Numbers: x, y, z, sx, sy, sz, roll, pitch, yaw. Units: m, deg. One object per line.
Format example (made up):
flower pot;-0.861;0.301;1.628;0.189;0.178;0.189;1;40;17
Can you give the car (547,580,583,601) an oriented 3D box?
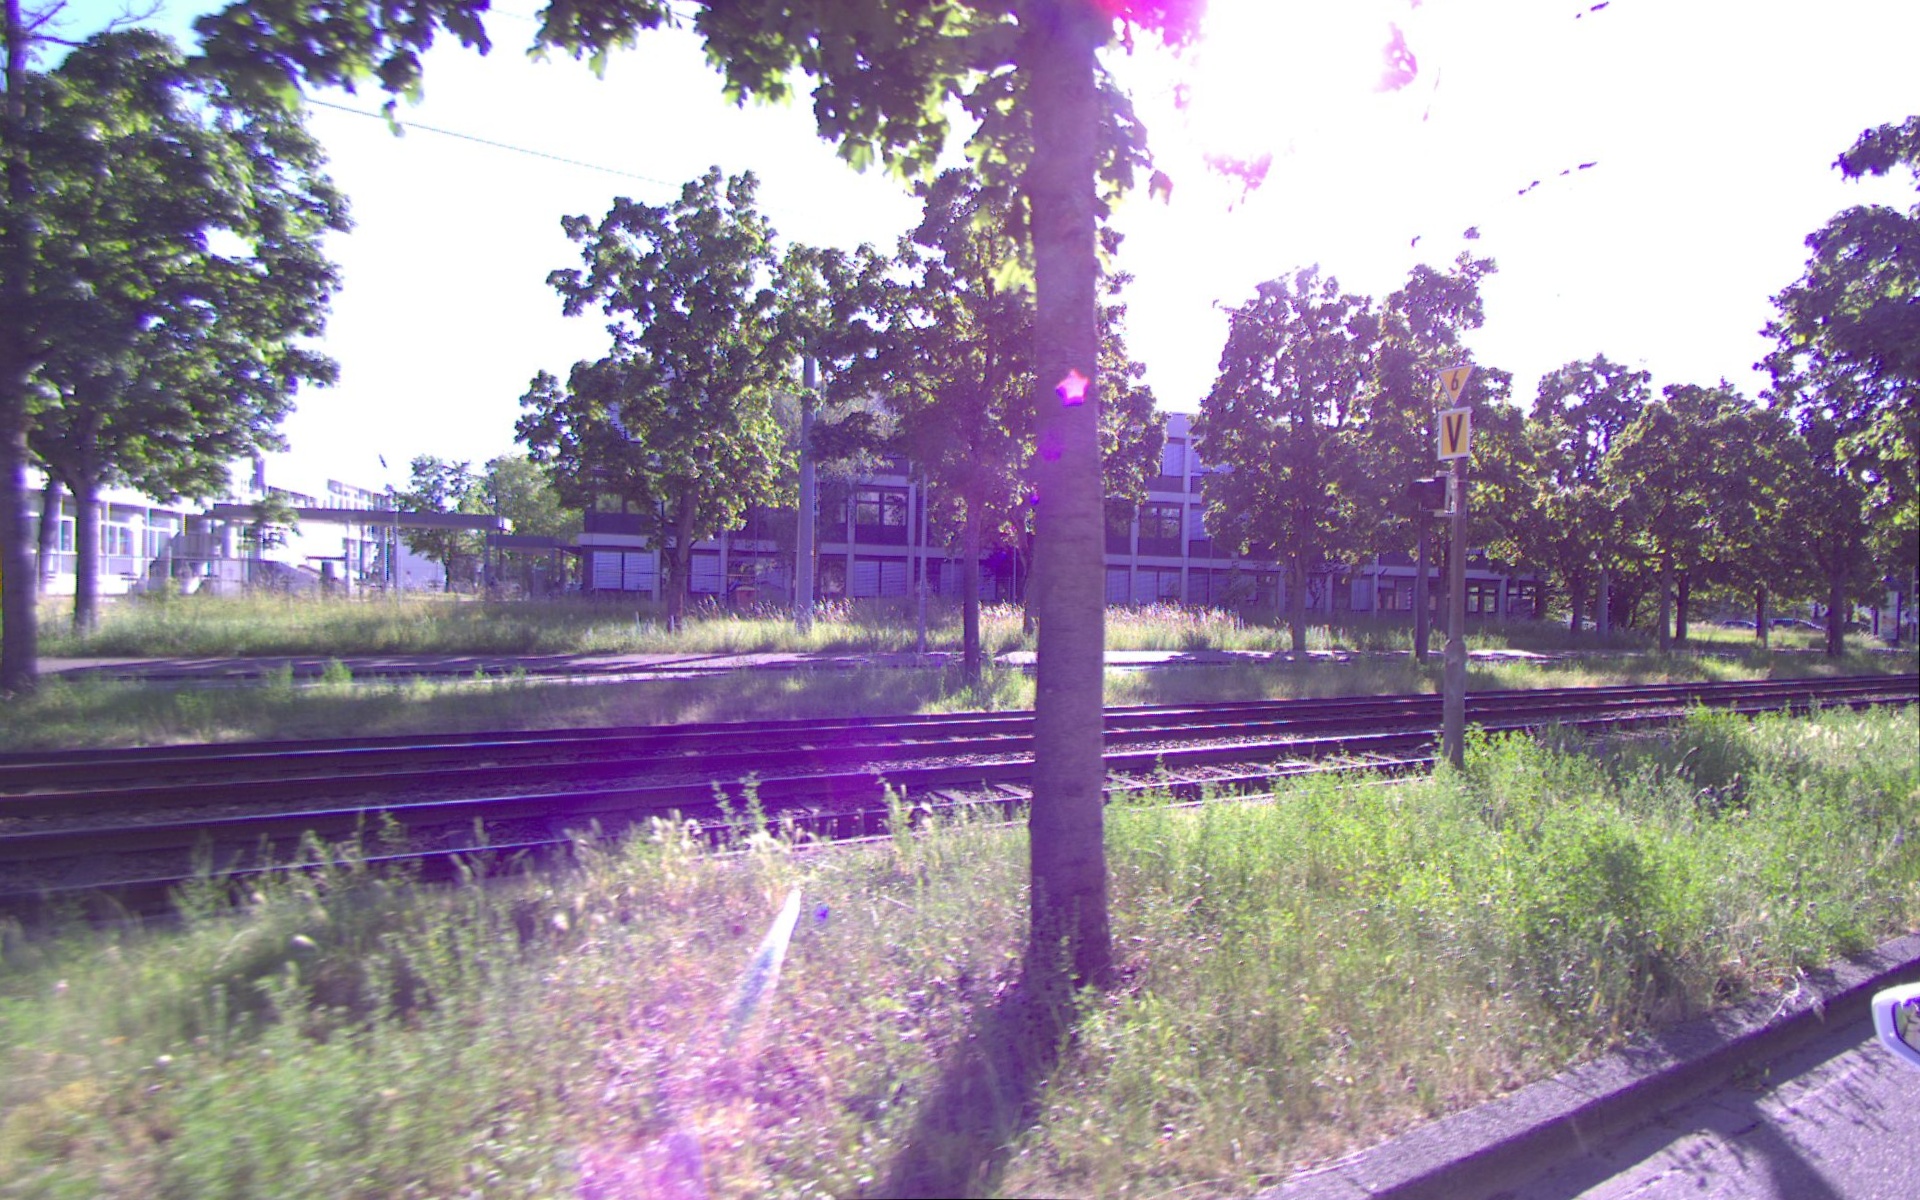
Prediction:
car;-30.884;-0.725;78.585;1.815;1.513;4.539;2;0;-11

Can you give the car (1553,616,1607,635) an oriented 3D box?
car;60.442;2.482;98.043;4.350;1.662;1.987;1;0;28

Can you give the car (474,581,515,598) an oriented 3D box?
car;-35.656;-0.806;77.081;1.815;1.247;4.539;2;0;-11

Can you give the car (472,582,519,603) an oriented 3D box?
car;-30.761;-0.535;66.615;1.815;1.284;4.539;2;0;-11
